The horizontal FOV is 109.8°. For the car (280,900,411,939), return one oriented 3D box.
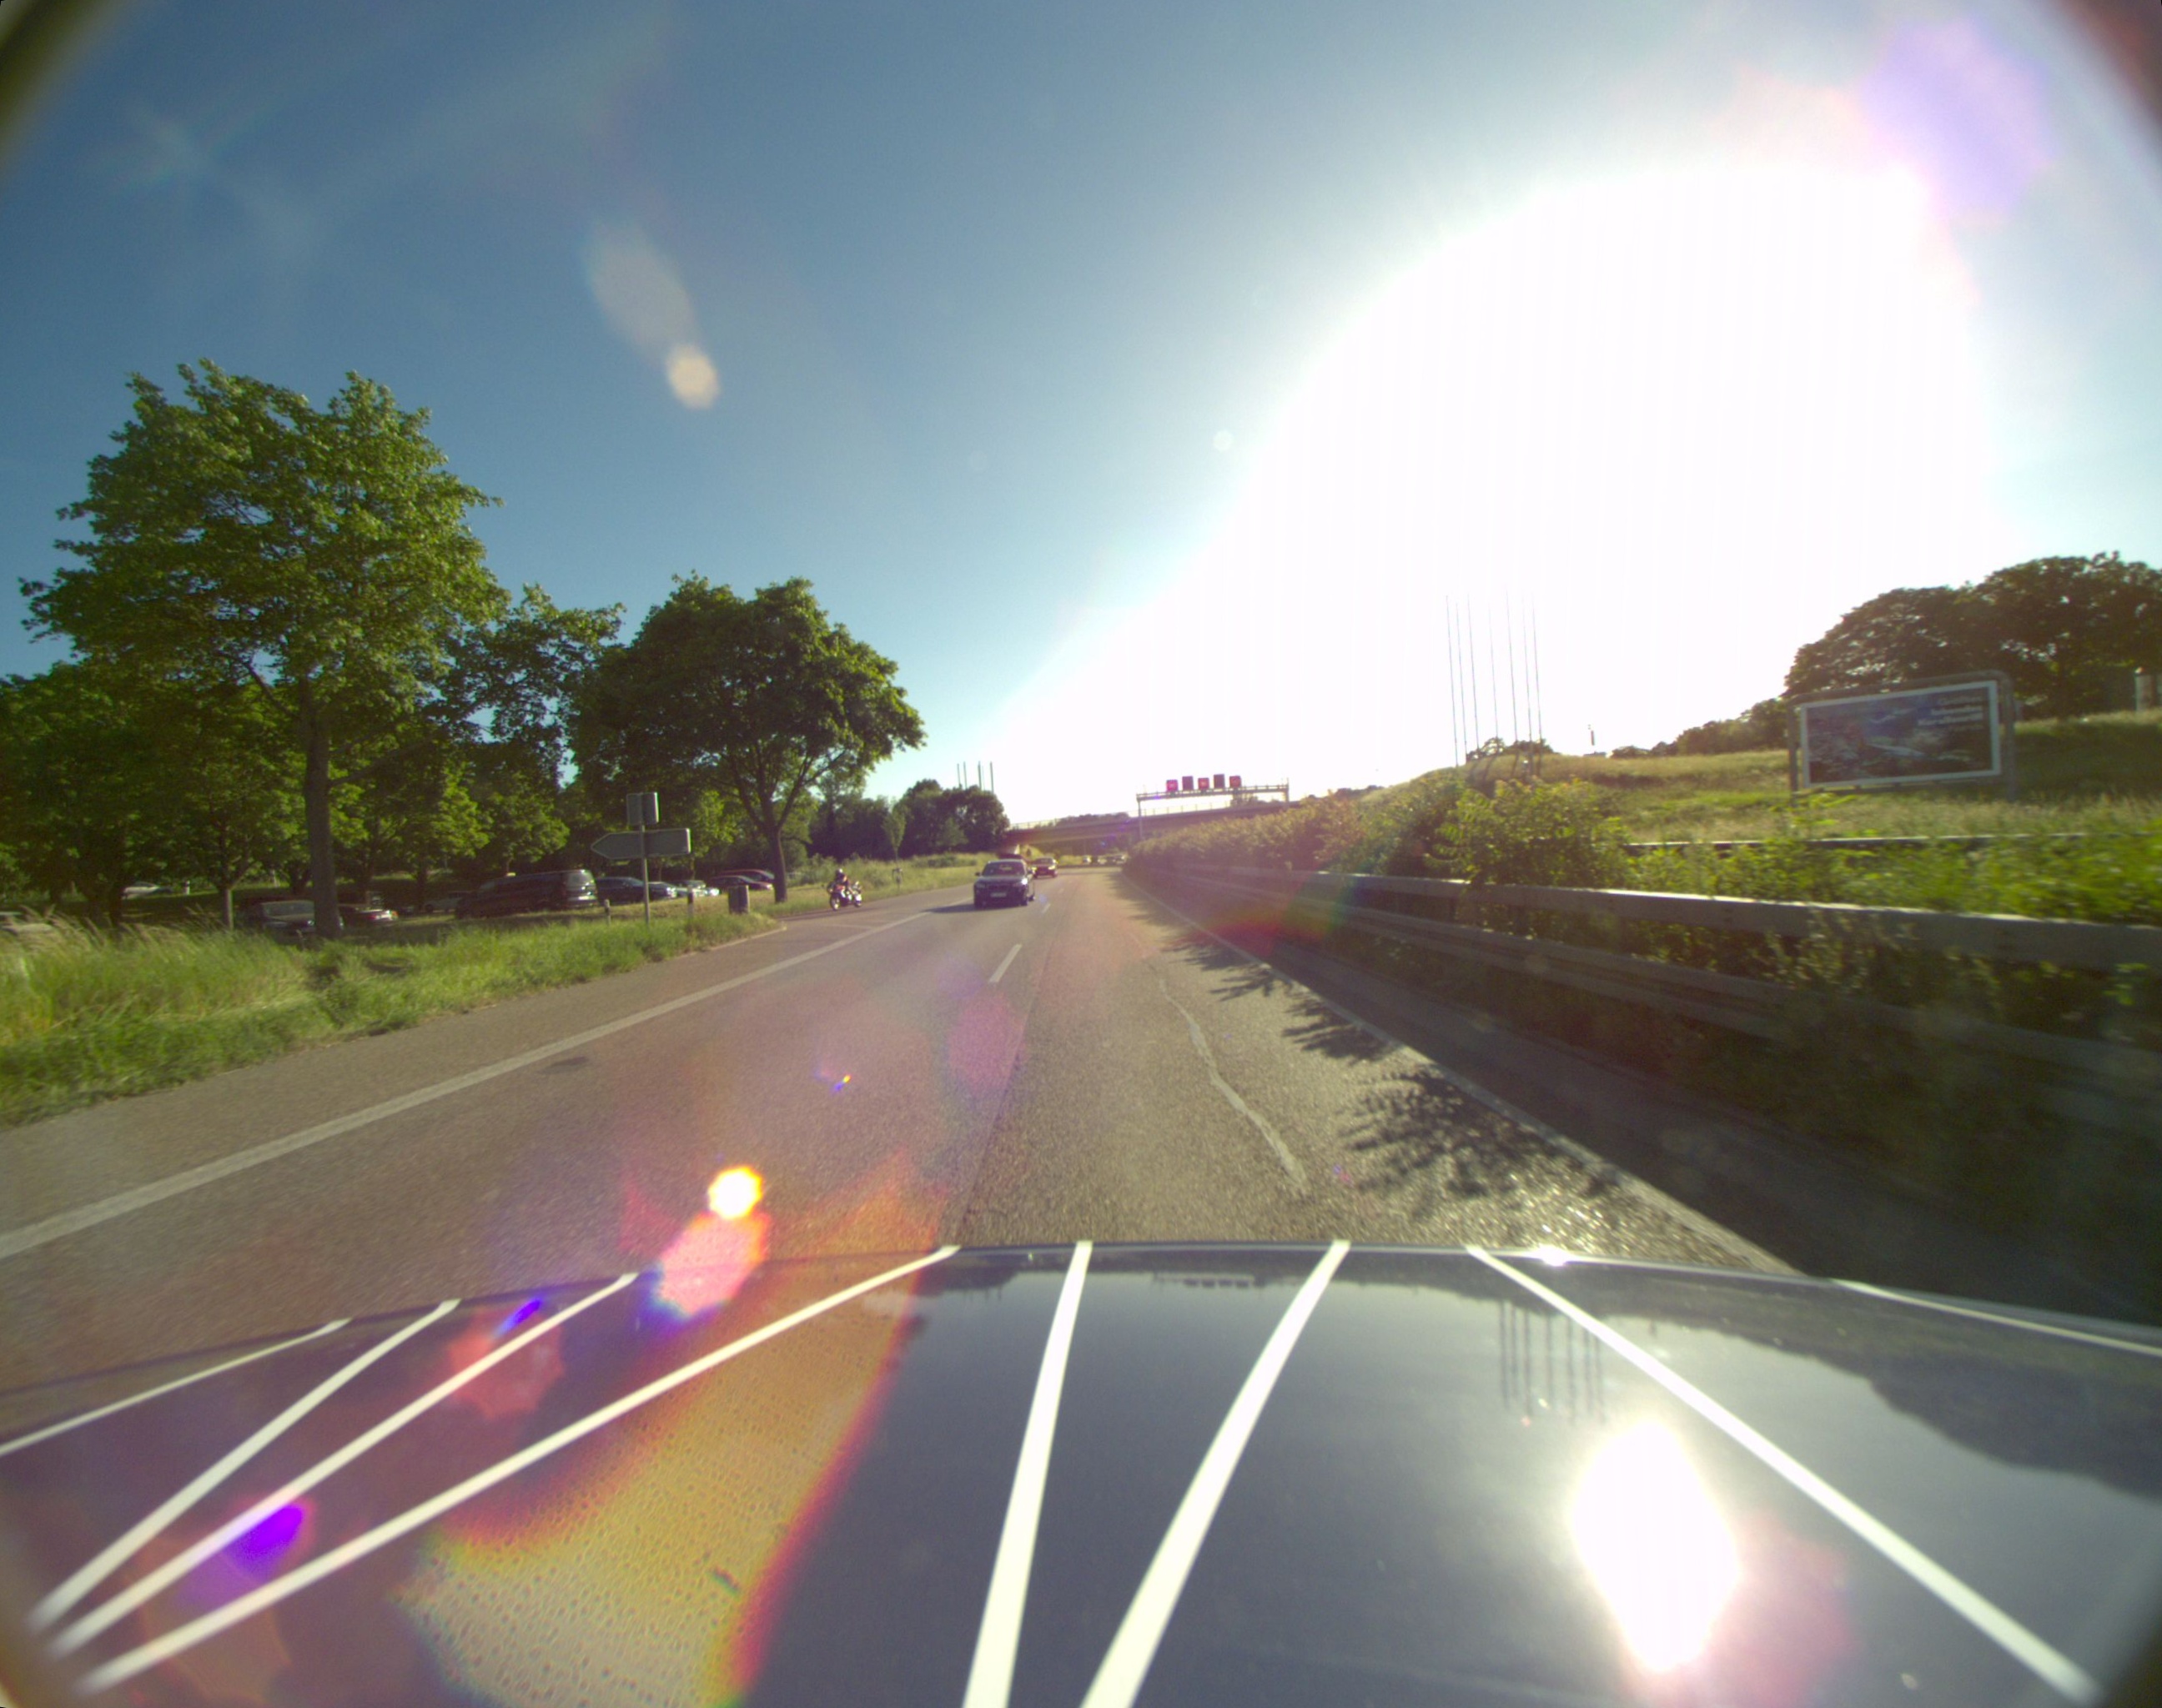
[{"bbox_3d":[-33.809,2.990,34.986,4.133,1.401,1.983,-2,2,3],"label":"car"}]

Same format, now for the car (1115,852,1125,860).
[{"bbox_3d":[7.936,0.465,154.415,1.682,1.412,3.670,-3,0,5],"label":"car"}]

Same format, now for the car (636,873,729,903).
[{"bbox_3d":[-22.727,1.949,43.433,4.222,1.210,1.961,-5,1,2],"label":"car"}]

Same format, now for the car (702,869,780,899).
[{"bbox_3d":[-21.953,1.925,49.226,4.017,1.492,1.960,-5,1,0],"label":"car"}]

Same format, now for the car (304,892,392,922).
[{"bbox_3d":[-50.734,3.662,52.626,4.223,1.551,1.787,-4,2,1],"label":"car"}]

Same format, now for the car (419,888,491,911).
[{"bbox_3d":[-50.567,3.682,61.407,4.121,1.416,1.865,-3,3,-2],"label":"car"}]

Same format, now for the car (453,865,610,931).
[{"bbox_3d":[-22.681,1.789,31.446,5.043,2.124,2.094,-5,2,8],"label":"car"}]

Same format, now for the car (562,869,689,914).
[{"bbox_3d":[-22.840,1.862,38.302,4.868,1.669,2.223,-5,1,-3],"label":"car"}]

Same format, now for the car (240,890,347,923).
[{"bbox_3d":[-51.274,3.400,49.539,4.597,1.766,1.945,-2,2,-6],"label":"car"}]

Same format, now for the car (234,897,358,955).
[{"bbox_3d":[-25.334,2.329,24.481,4.216,1.551,1.790,-5,2,32],"label":"car"}]

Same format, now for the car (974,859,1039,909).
[{"bbox_3d":[-2.504,0.976,26.437,1.703,1.497,4.579,-2,0,1],"label":"car"}]

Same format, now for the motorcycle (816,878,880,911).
[{"bbox_3d":[-9.093,1.585,29.843,0.817,1.063,2.839,-2,1,20],"label":"motorcycle"}]

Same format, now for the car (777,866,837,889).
[{"bbox_3d":[-21.596,1.829,59.922,3.942,1.452,1.923,-3,3,-2],"label":"car"}]

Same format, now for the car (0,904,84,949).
[{"bbox_3d":[-51.202,3.503,36.017,5.204,1.855,1.957,-3,1,0],"label":"car"}]

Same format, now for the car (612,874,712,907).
[{"bbox_3d":[-22.565,1.947,41.023,4.222,1.303,1.960,-5,1,0],"label":"car"}]

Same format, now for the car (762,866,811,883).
[{"bbox_3d":[-29.879,2.022,77.252,1.994,1.300,4.116,-1,4,38],"label":"car"}]

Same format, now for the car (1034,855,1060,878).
[{"bbox_3d":[-2.595,0.934,59.303,1.759,1.564,4.520,-2,1,1],"label":"car"}]

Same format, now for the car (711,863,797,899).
[{"bbox_3d":[-22.273,1.810,51.903,4.802,2.012,2.025,-3,4,-2],"label":"car"}]

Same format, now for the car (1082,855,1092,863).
[{"bbox_3d":[1.234,0.994,154.737,1.867,1.681,4.000,-2,0,2],"label":"car"}]

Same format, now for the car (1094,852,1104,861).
[{"bbox_3d":[3.274,0.474,136.695,1.682,1.412,3.670,-3,0,4],"label":"car"}]

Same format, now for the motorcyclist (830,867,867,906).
[{"bbox_3d":[-9.126,1.254,29.814,0.817,1.439,1.095,-2,1,20],"label":"motorcyclist"}]

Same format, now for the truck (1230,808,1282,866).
[{"bbox_3d":[13.443,-1.259,58.738,2.655,4.099,5.562,-3,0,1],"label":"truck"}]

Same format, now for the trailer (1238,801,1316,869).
[{"bbox_3d":[13.327,-1.193,52.682,2.655,4.099,10.699,-3,0,1],"label":"trailer"}]

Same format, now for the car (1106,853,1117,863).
[{"bbox_3d":[4.890,0.607,122.916,1.725,1.412,3.670,-3,0,2],"label":"car"}]
